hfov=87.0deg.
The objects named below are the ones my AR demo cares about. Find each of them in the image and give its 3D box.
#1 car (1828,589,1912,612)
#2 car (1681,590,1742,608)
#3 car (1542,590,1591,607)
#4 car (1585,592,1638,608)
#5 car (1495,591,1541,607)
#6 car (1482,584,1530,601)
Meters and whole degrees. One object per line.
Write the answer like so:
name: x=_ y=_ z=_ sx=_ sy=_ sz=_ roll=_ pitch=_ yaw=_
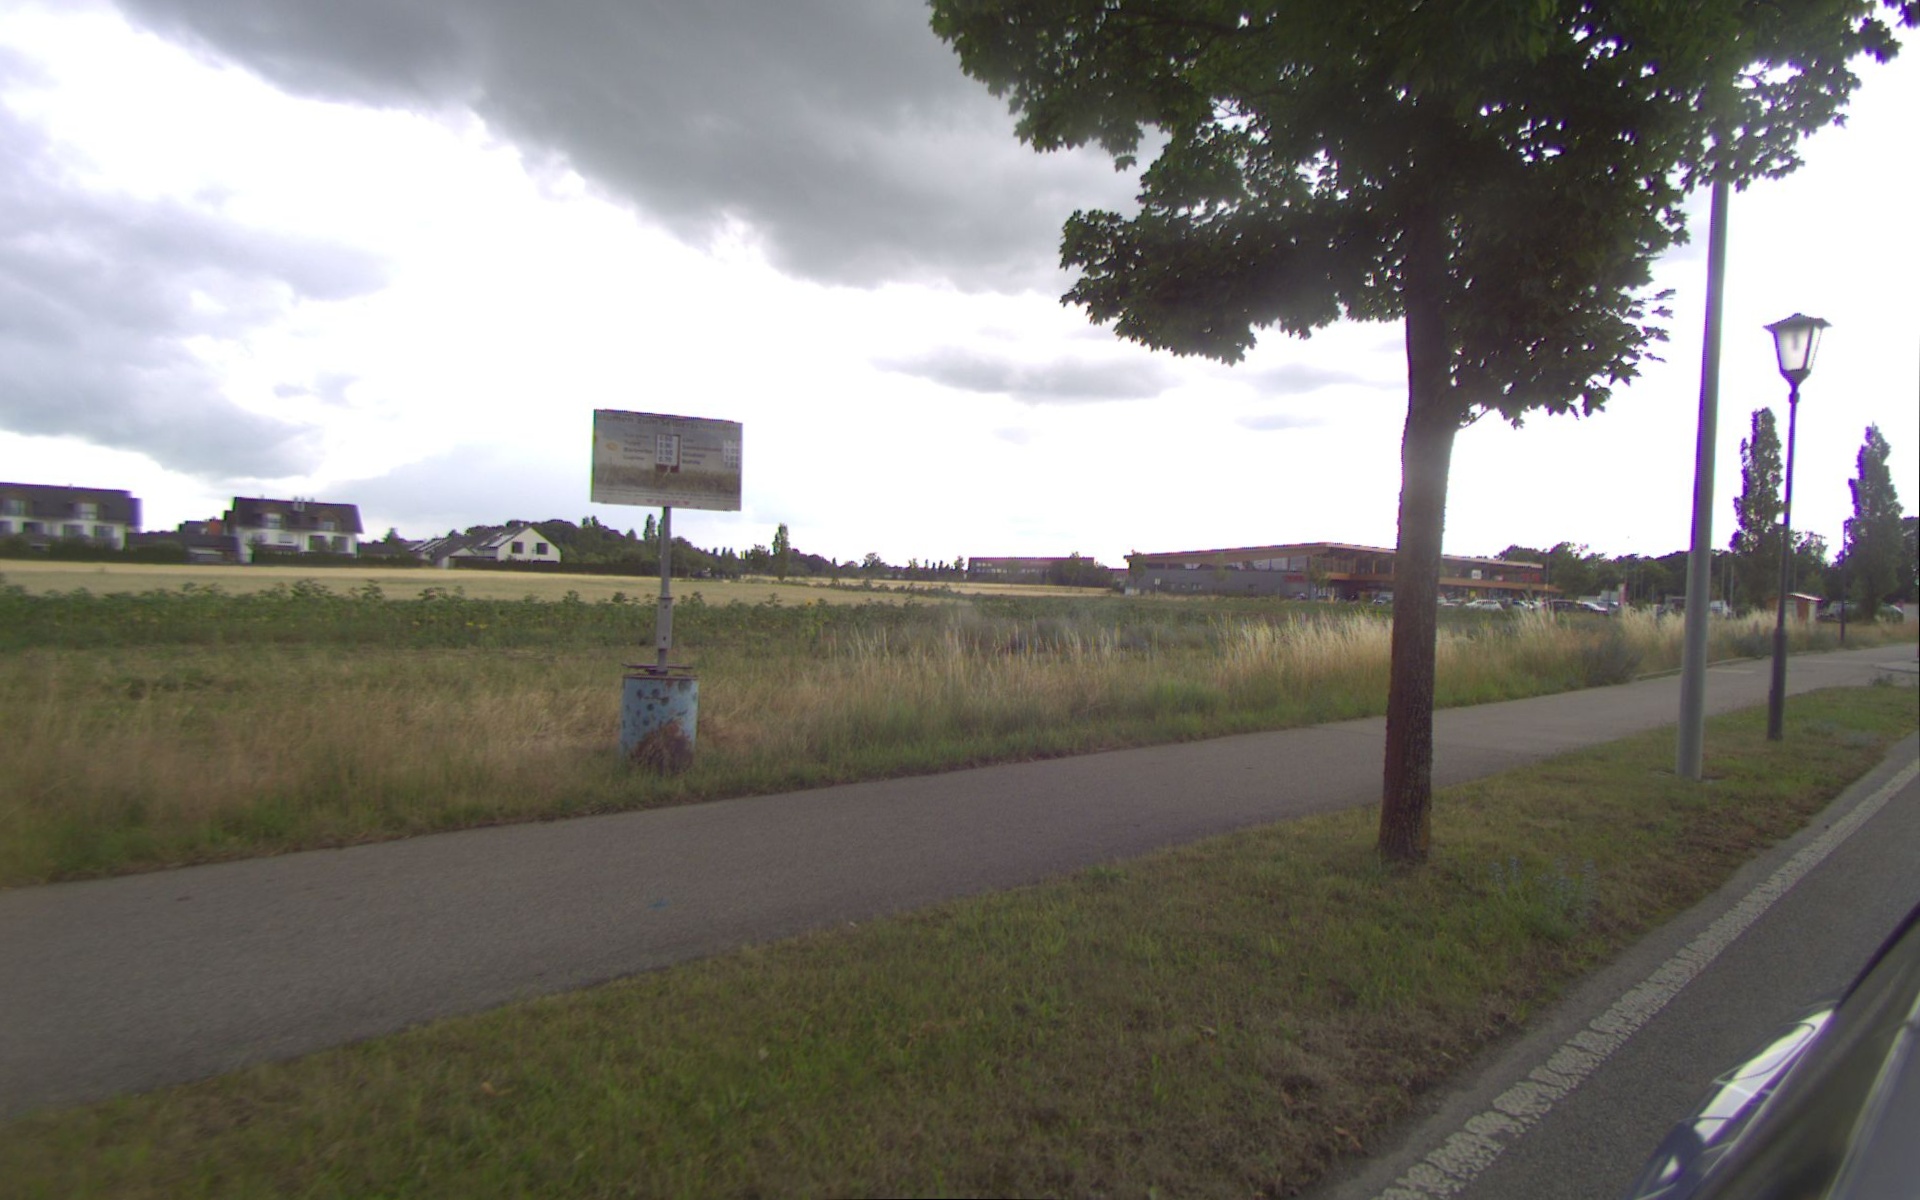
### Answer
car: x=81.672 y=0.007 z=90.914 sx=1.968 sy=2.039 sz=5.512 roll=0 pitch=0 yaw=-45
car: x=88.904 y=-0.140 z=119.778 sx=1.968 sy=2.039 sz=5.512 roll=0 pitch=0 yaw=-45
car: x=73.668 y=-0.146 z=122.955 sx=4.842 sy=2.039 sz=1.969 roll=0 pitch=0 yaw=44
car: x=85.010 y=0.035 z=132.086 sx=1.968 sy=2.039 sz=5.512 roll=0 pitch=0 yaw=-45
car: x=71.713 y=-0.180 z=130.094 sx=4.842 sy=2.039 sz=1.969 roll=0 pitch=0 yaw=44
car: x=67.520 y=-0.875 z=125.172 sx=4.842 sy=2.039 sz=1.969 roll=0 pitch=0 yaw=44
